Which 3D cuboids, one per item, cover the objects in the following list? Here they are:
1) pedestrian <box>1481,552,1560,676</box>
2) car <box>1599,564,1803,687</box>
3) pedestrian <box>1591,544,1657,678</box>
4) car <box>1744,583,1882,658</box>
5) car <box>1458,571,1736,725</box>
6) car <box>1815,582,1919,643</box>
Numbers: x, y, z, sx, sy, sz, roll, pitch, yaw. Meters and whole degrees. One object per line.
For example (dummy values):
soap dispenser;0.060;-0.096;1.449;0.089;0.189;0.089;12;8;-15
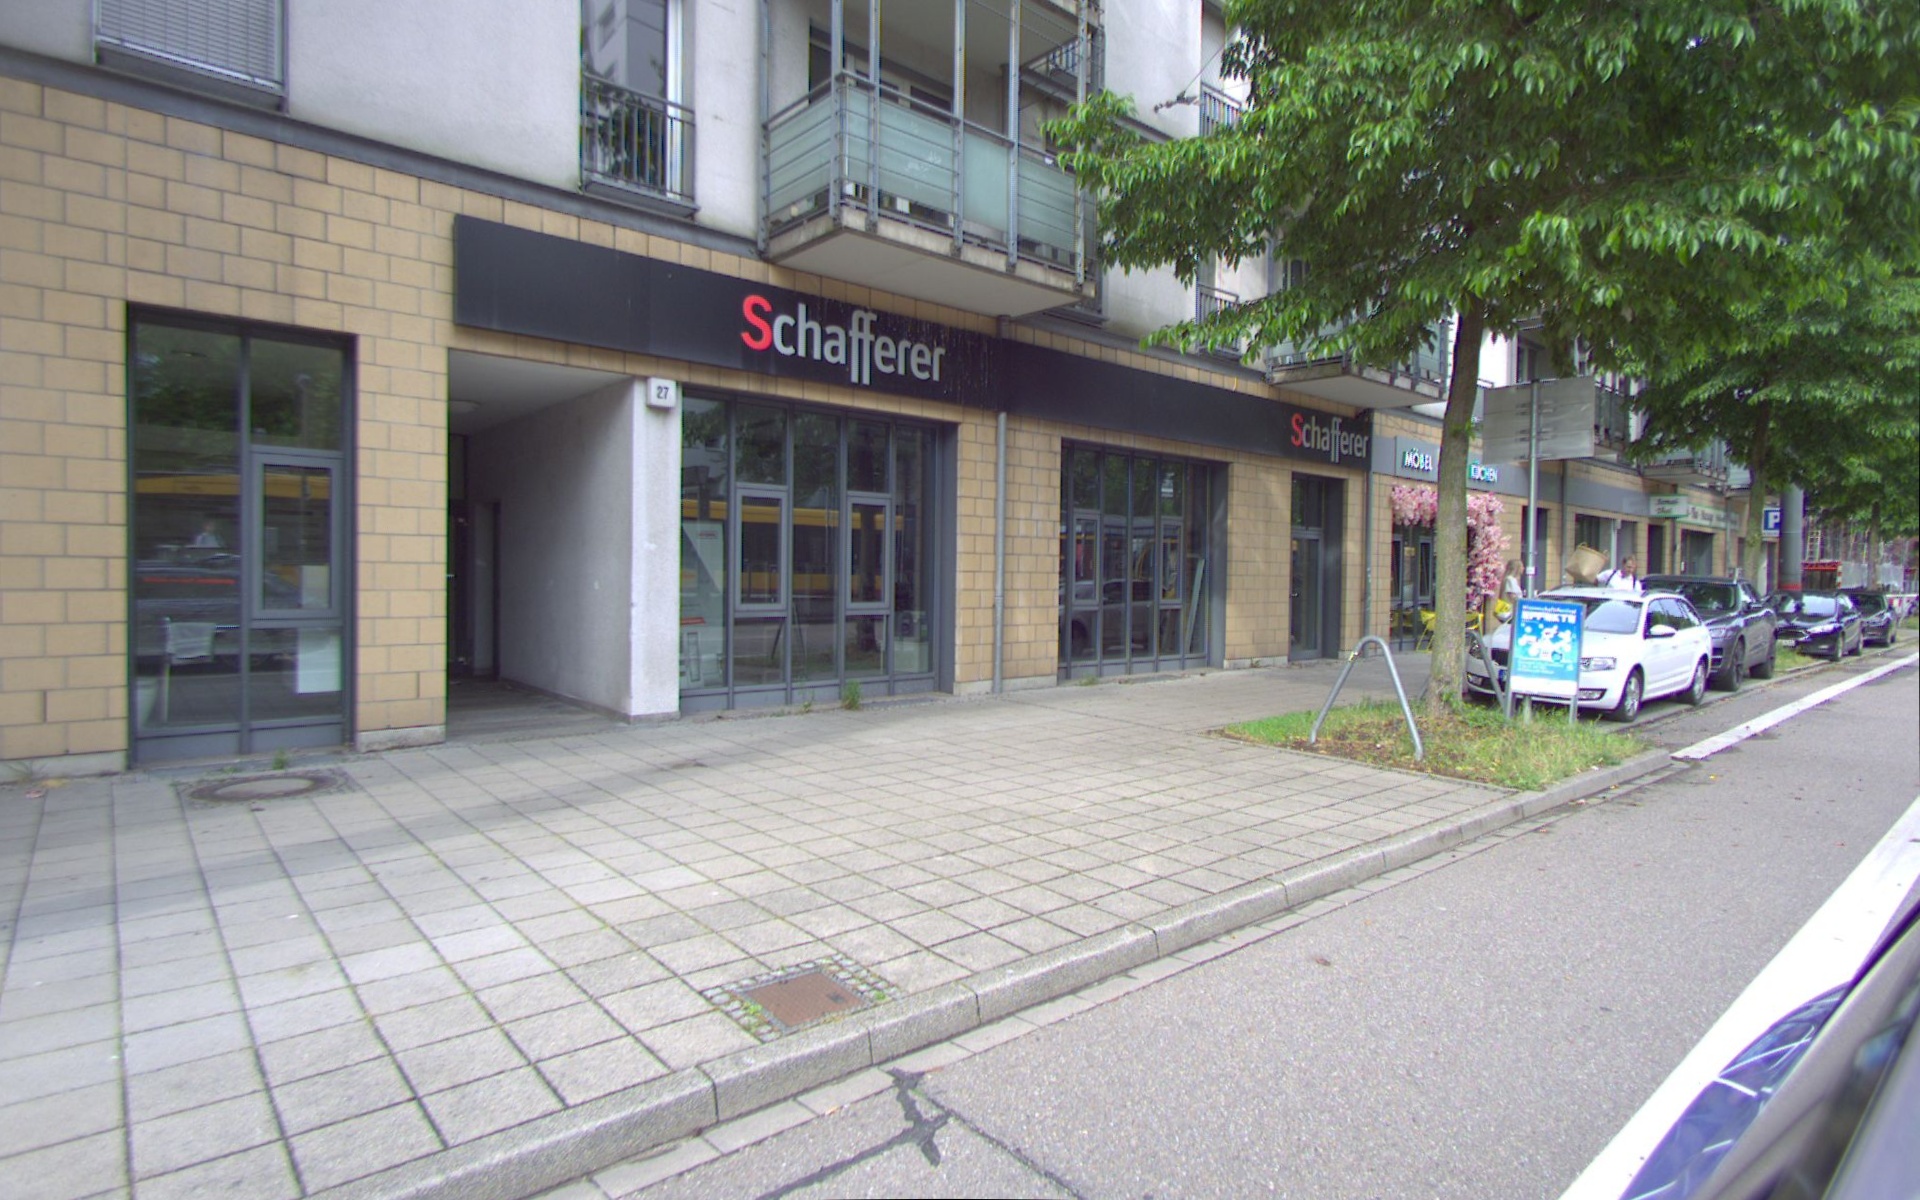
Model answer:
pedestrian;8.050;0.184;14.570;0.724;1.738;0.618;1;2;0
car;11.793;0.314;16.030;3.732;1.630;1.738;-1;5;-41
pedestrian;9.766;0.145;14.890;0.588;1.907;0.656;0;1;-40
car;18.634;0.381;22.047;4.095;1.394;1.612;-1;5;-41
car;8.121;0.470;12.757;4.233;1.539;1.738;-1;5;-41
car;24.155;0.281;26.872;3.603;1.417;1.612;-1;5;-41
